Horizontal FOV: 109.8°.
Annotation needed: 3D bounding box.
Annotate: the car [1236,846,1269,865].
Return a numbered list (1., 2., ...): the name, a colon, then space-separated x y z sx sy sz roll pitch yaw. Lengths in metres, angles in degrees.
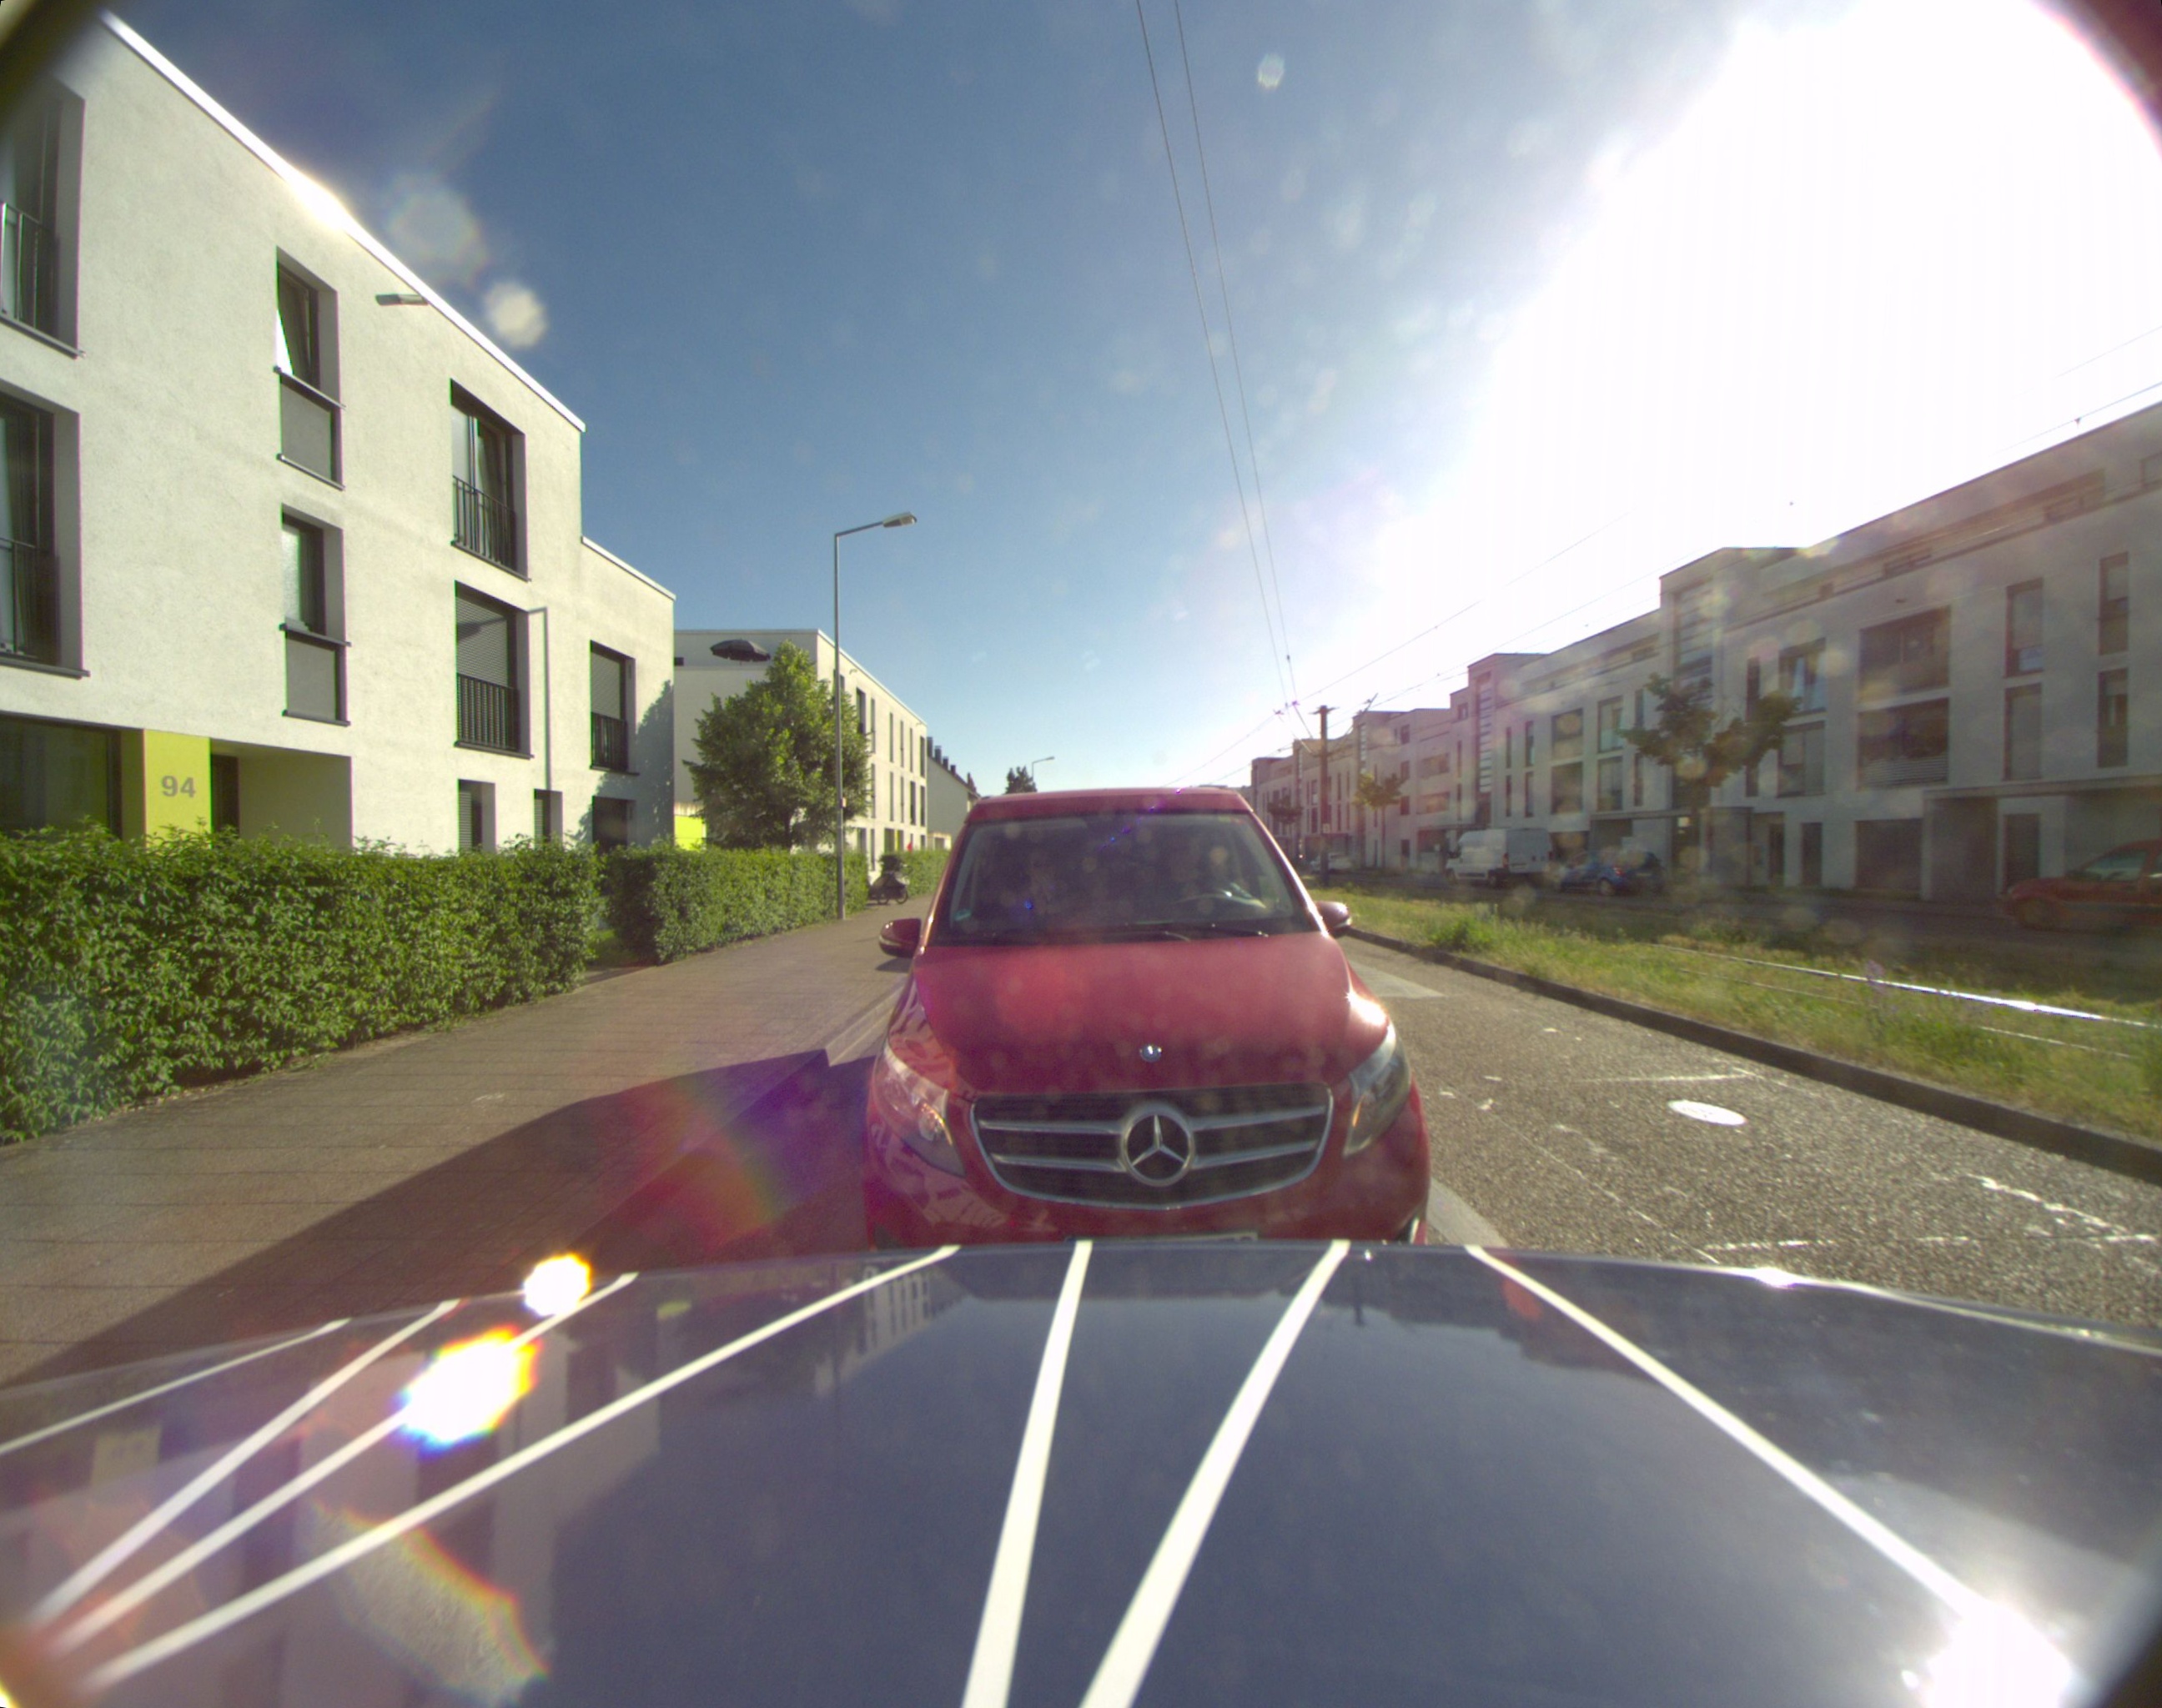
1. car: 16.724 0.139 74.339 1.923 1.671 4.282 -2 1 -4

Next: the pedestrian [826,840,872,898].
1. pedestrian: -6.540 0.403 21.453 0.852 1.585 0.915 1 1 21

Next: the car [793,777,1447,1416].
1. car: 0.151 0.706 4.505 1.874 1.843 4.506 -2 1 1

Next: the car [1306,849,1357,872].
1. car: 17.638 0.422 53.724 1.923 1.497 4.282 -2 1 -4

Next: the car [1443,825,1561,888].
1. car: 18.171 0.083 33.155 2.225 2.458 5.195 -2 1 0

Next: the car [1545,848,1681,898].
1. car: 18.378 0.585 26.484 1.998 1.536 3.835 -2 1 0

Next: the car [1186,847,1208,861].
1. car: 15.196 -0.056 99.642 1.923 1.671 4.282 -2 1 -4

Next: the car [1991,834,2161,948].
1. car: 18.617 0.588 12.793 1.998 1.817 3.895 -2 1 3

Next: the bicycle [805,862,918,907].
1. bicycle: -6.163 0.816 21.326 3.118 1.166 0.933 0 1 21

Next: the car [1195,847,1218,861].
1. car: 15.482 -0.033 93.890 1.923 1.671 4.282 -2 1 -4
